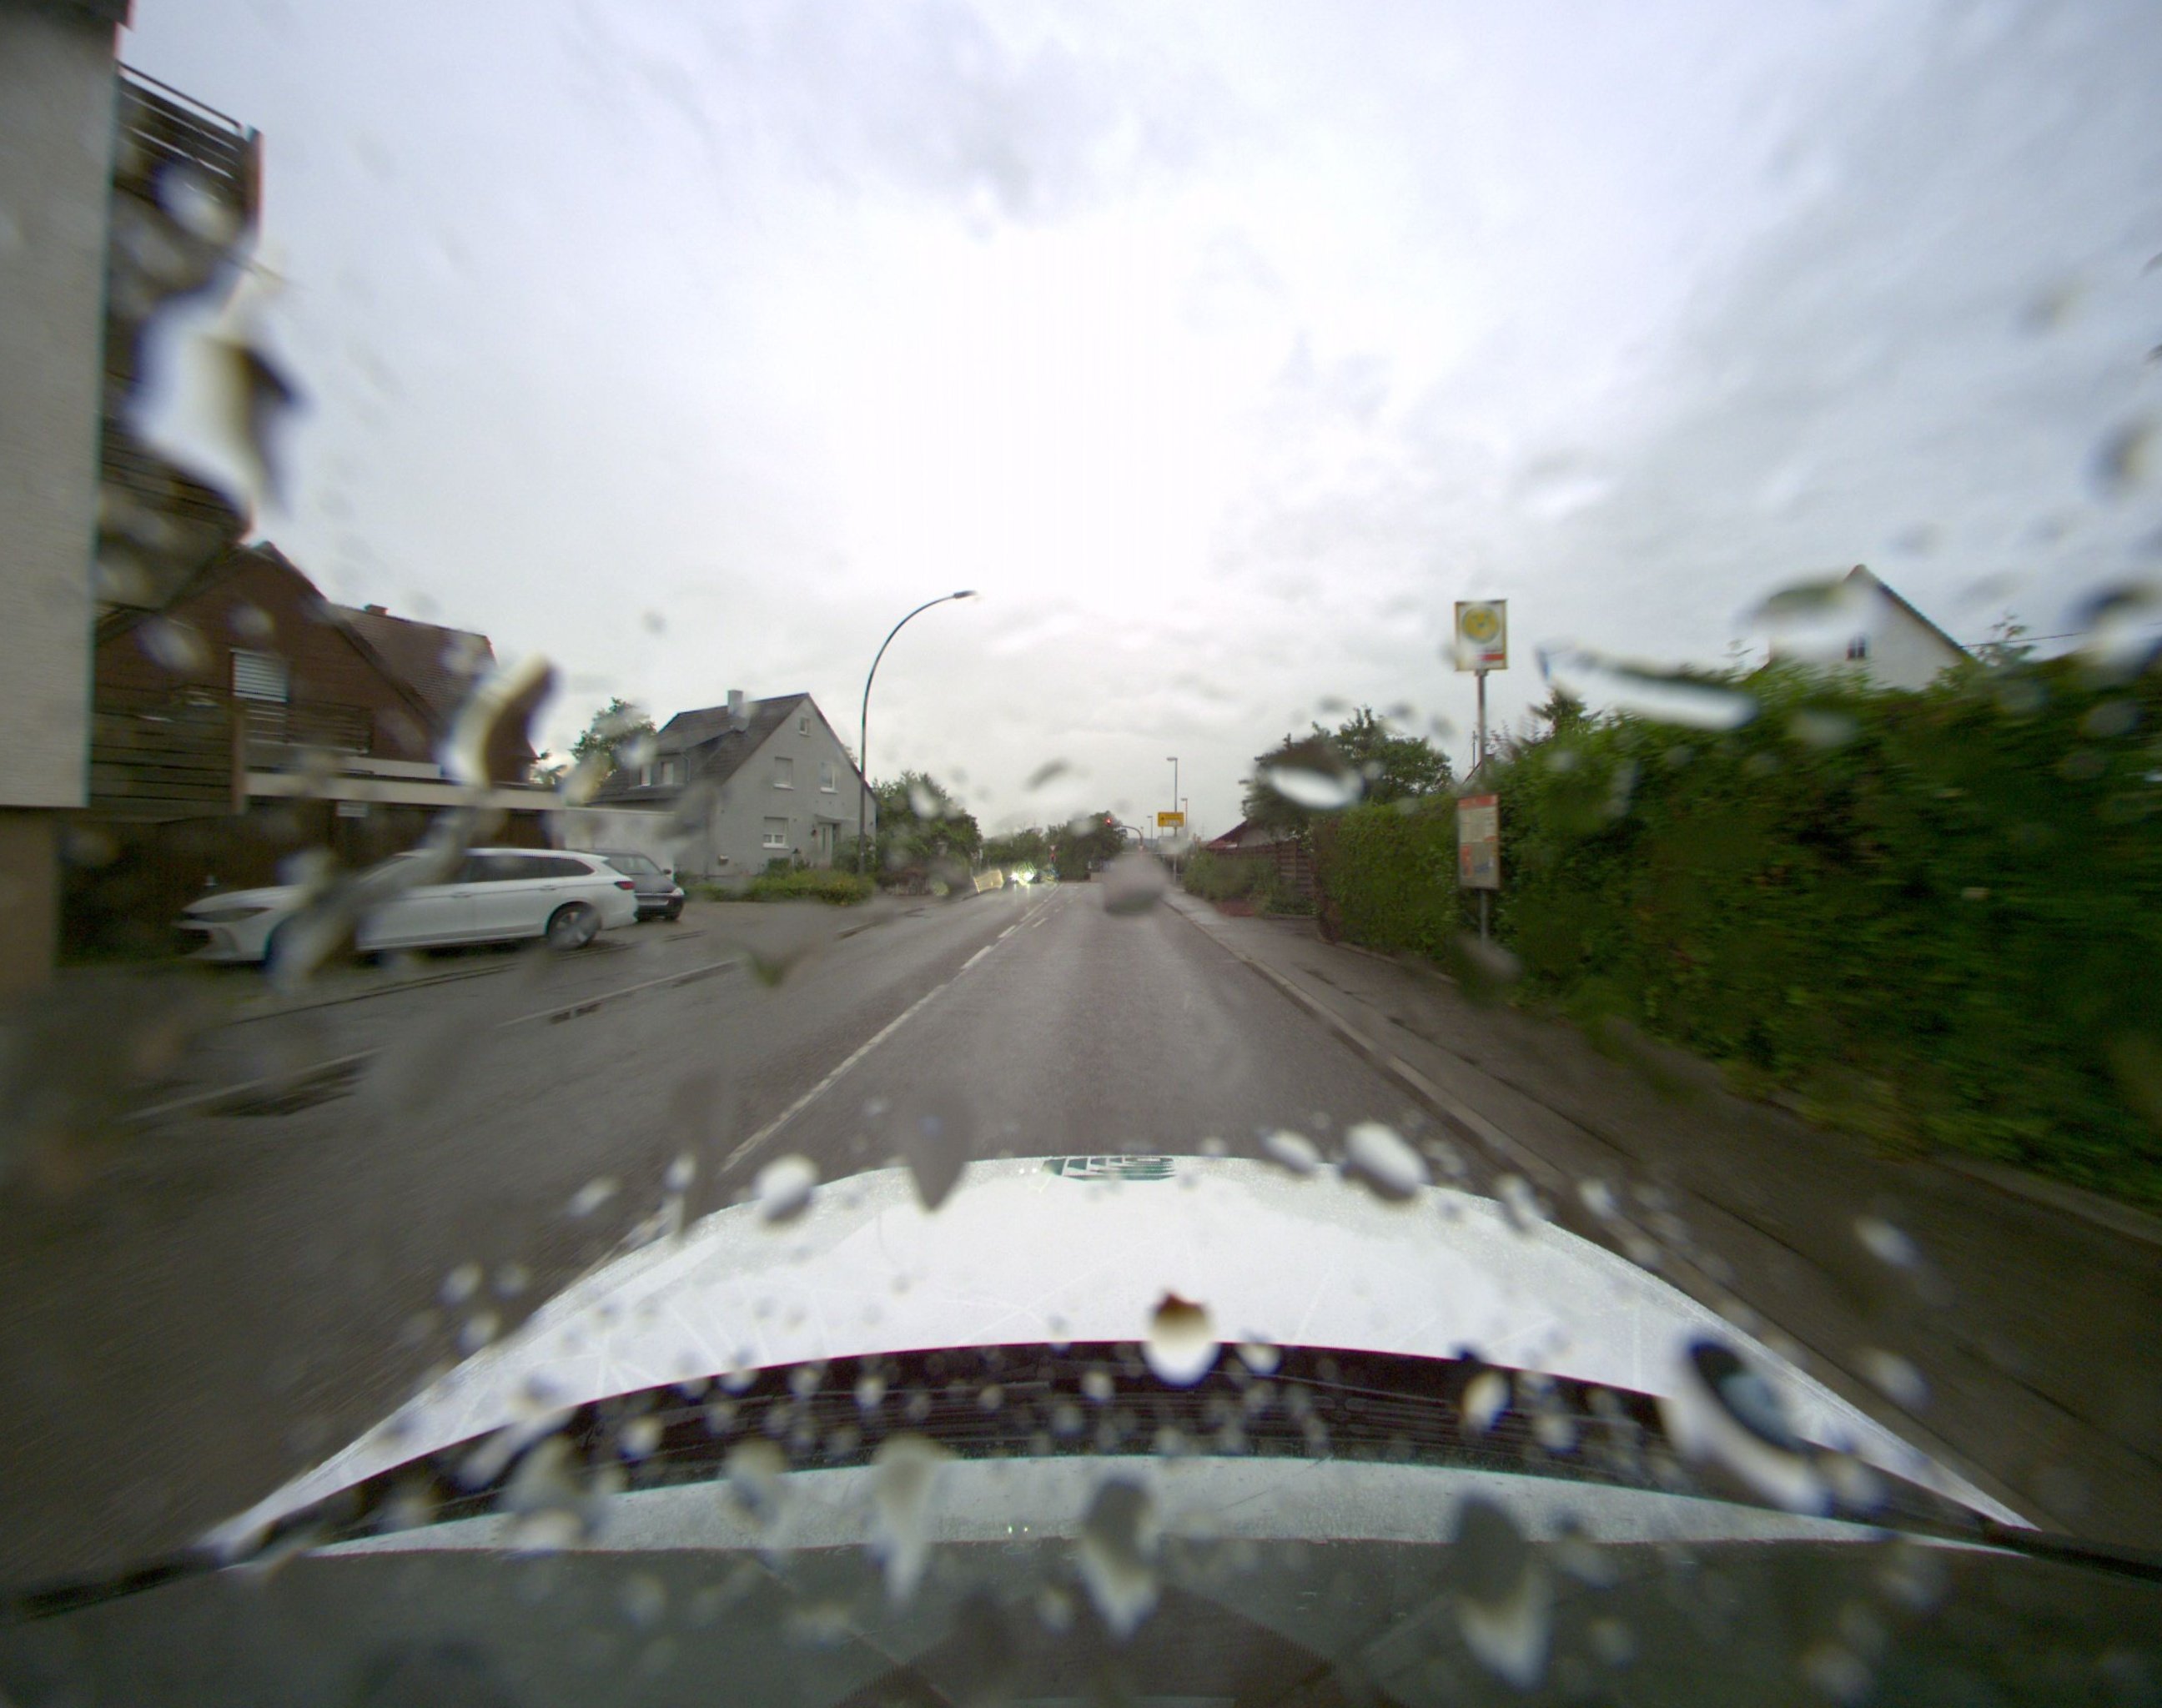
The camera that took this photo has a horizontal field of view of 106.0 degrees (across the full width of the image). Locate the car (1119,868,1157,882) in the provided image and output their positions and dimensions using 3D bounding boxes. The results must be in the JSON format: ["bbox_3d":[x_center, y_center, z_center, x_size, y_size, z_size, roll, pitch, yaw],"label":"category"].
[{"bbox_3d":[7.932,2.927,112.933,4.698,1.690,2.318,-4,-1,24],"label":"car"}]

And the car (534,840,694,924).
[{"bbox_3d":[-10.093,0.541,17.521,3.726,1.508,1.712,3,0,39],"label":"car"}]

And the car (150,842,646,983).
[{"bbox_3d":[-9.001,0.628,11.265,1.883,1.477,4.913,2,1,35],"label":"car"}]

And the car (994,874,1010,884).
[{"bbox_3d":[-12.601,3.948,129.522,1.996,1.464,3.981,-2,0,-14],"label":"car"}]

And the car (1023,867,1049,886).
[{"bbox_3d":[-5.102,2.544,93.241,1.758,2.014,4.016,0,-1,16],"label":"car"}]

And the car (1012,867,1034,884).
[{"bbox_3d":[-5.628,2.069,78.883,1.799,1.523,3.999,0,0,0],"label":"car"}]
